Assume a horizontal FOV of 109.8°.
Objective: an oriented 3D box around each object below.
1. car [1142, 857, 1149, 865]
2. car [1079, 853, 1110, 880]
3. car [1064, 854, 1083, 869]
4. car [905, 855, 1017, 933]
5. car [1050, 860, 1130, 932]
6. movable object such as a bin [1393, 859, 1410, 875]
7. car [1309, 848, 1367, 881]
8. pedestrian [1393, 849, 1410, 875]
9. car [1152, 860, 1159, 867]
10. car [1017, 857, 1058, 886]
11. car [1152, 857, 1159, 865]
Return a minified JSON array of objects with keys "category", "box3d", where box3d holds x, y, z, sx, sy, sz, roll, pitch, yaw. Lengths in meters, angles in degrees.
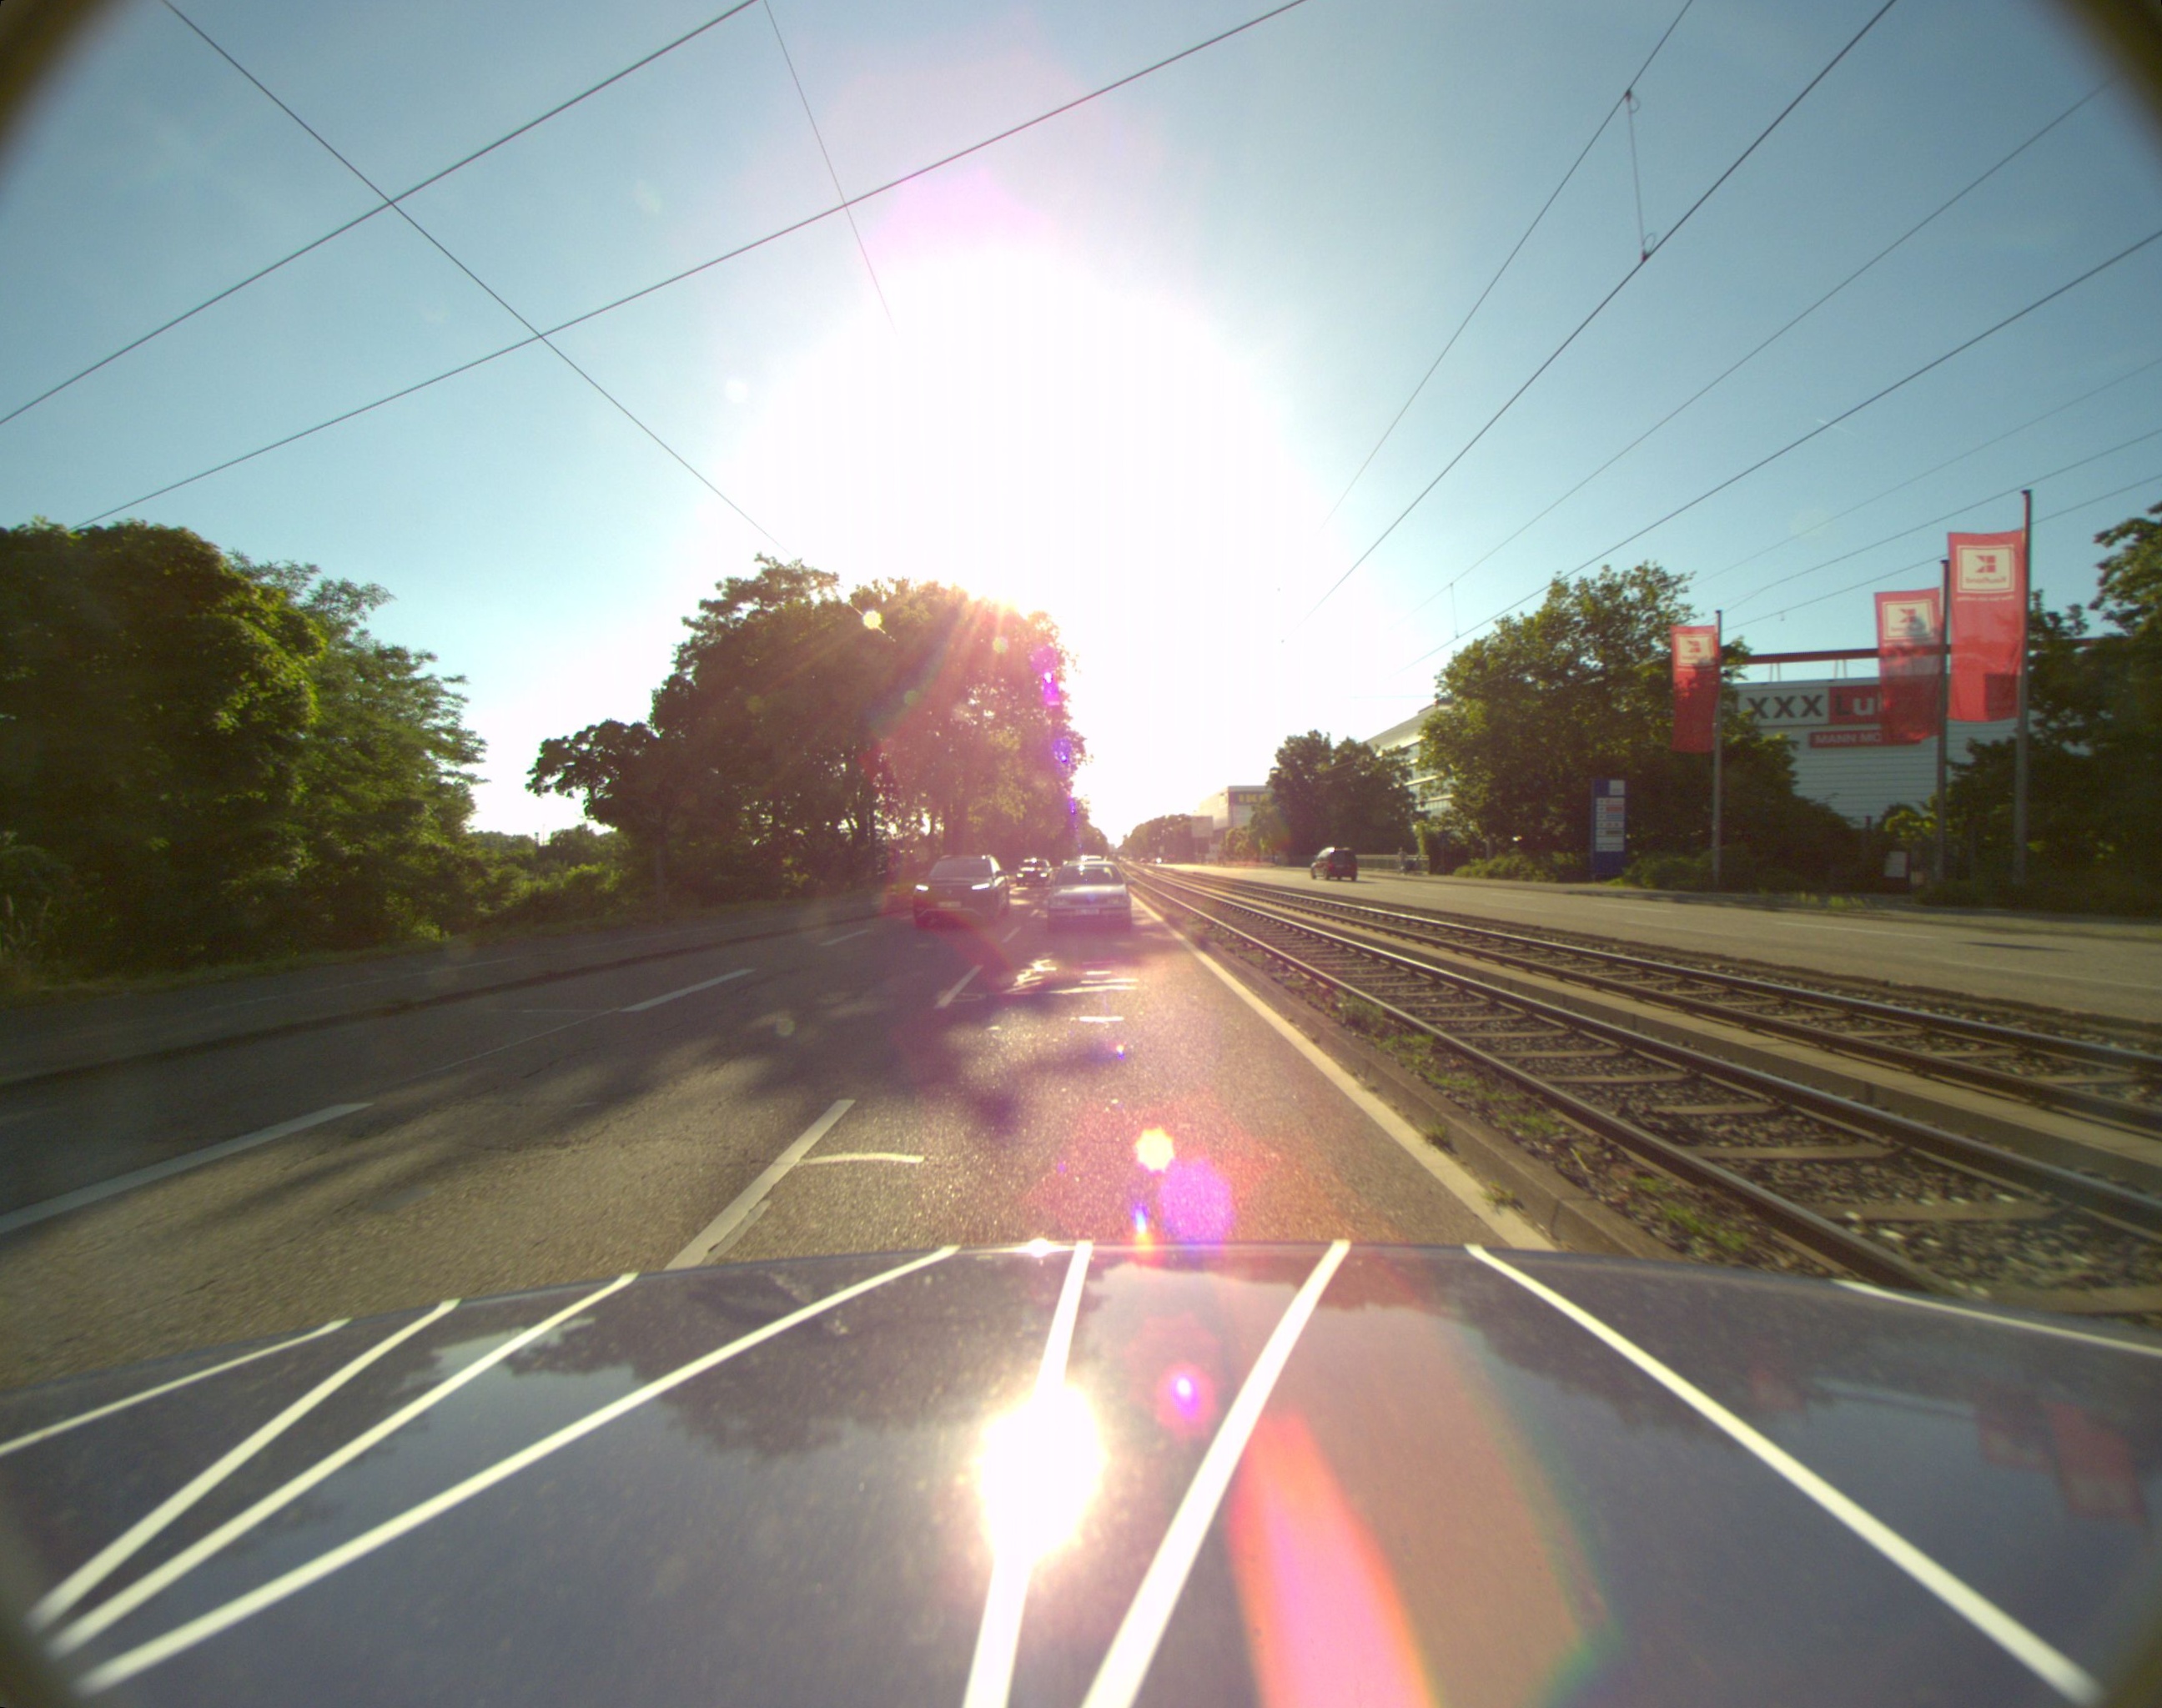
[{"category":"car","box3d":[21.107,2.229,249.645,1.997,2.281,4.002,-3,0,7]},{"category":"car","box3d":[0.901,0.786,49.751,1.881,1.591,4.416,-2,1,2]},{"category":"car","box3d":[-0.764,0.754,82.238,1.881,1.449,4.416,-2,1,2]},{"category":"car","box3d":[-2.816,0.879,18.789,1.881,1.591,4.416,-2,1,2]},{"category":"car","box3d":[0.251,0.934,18.493,1.695,1.437,4.001,-2,1,1]},{"category":"movable object such as a bin","box3d":[20.953,0.863,49.641,0.614,0.960,1.083,-3,1,1]},{"category":"car","box3d":[14.942,0.578,44.402,1.998,1.785,4.349,0,1,1]},{"category":"pedestrian","box3d":[20.782,0.521,49.254,0.614,1.638,1.083,-3,1,1]},{"category":"car","box3d":[24.910,3.082,253.503,1.997,2.281,4.002,-3,0,7]},{"category":"car","box3d":[-2.345,0.947,42.038,1.874,1.405,4.001,-2,1,1]},{"category":"car","box3d":[23.117,2.263,235.628,1.997,2.281,4.002,-3,0,7]}]
